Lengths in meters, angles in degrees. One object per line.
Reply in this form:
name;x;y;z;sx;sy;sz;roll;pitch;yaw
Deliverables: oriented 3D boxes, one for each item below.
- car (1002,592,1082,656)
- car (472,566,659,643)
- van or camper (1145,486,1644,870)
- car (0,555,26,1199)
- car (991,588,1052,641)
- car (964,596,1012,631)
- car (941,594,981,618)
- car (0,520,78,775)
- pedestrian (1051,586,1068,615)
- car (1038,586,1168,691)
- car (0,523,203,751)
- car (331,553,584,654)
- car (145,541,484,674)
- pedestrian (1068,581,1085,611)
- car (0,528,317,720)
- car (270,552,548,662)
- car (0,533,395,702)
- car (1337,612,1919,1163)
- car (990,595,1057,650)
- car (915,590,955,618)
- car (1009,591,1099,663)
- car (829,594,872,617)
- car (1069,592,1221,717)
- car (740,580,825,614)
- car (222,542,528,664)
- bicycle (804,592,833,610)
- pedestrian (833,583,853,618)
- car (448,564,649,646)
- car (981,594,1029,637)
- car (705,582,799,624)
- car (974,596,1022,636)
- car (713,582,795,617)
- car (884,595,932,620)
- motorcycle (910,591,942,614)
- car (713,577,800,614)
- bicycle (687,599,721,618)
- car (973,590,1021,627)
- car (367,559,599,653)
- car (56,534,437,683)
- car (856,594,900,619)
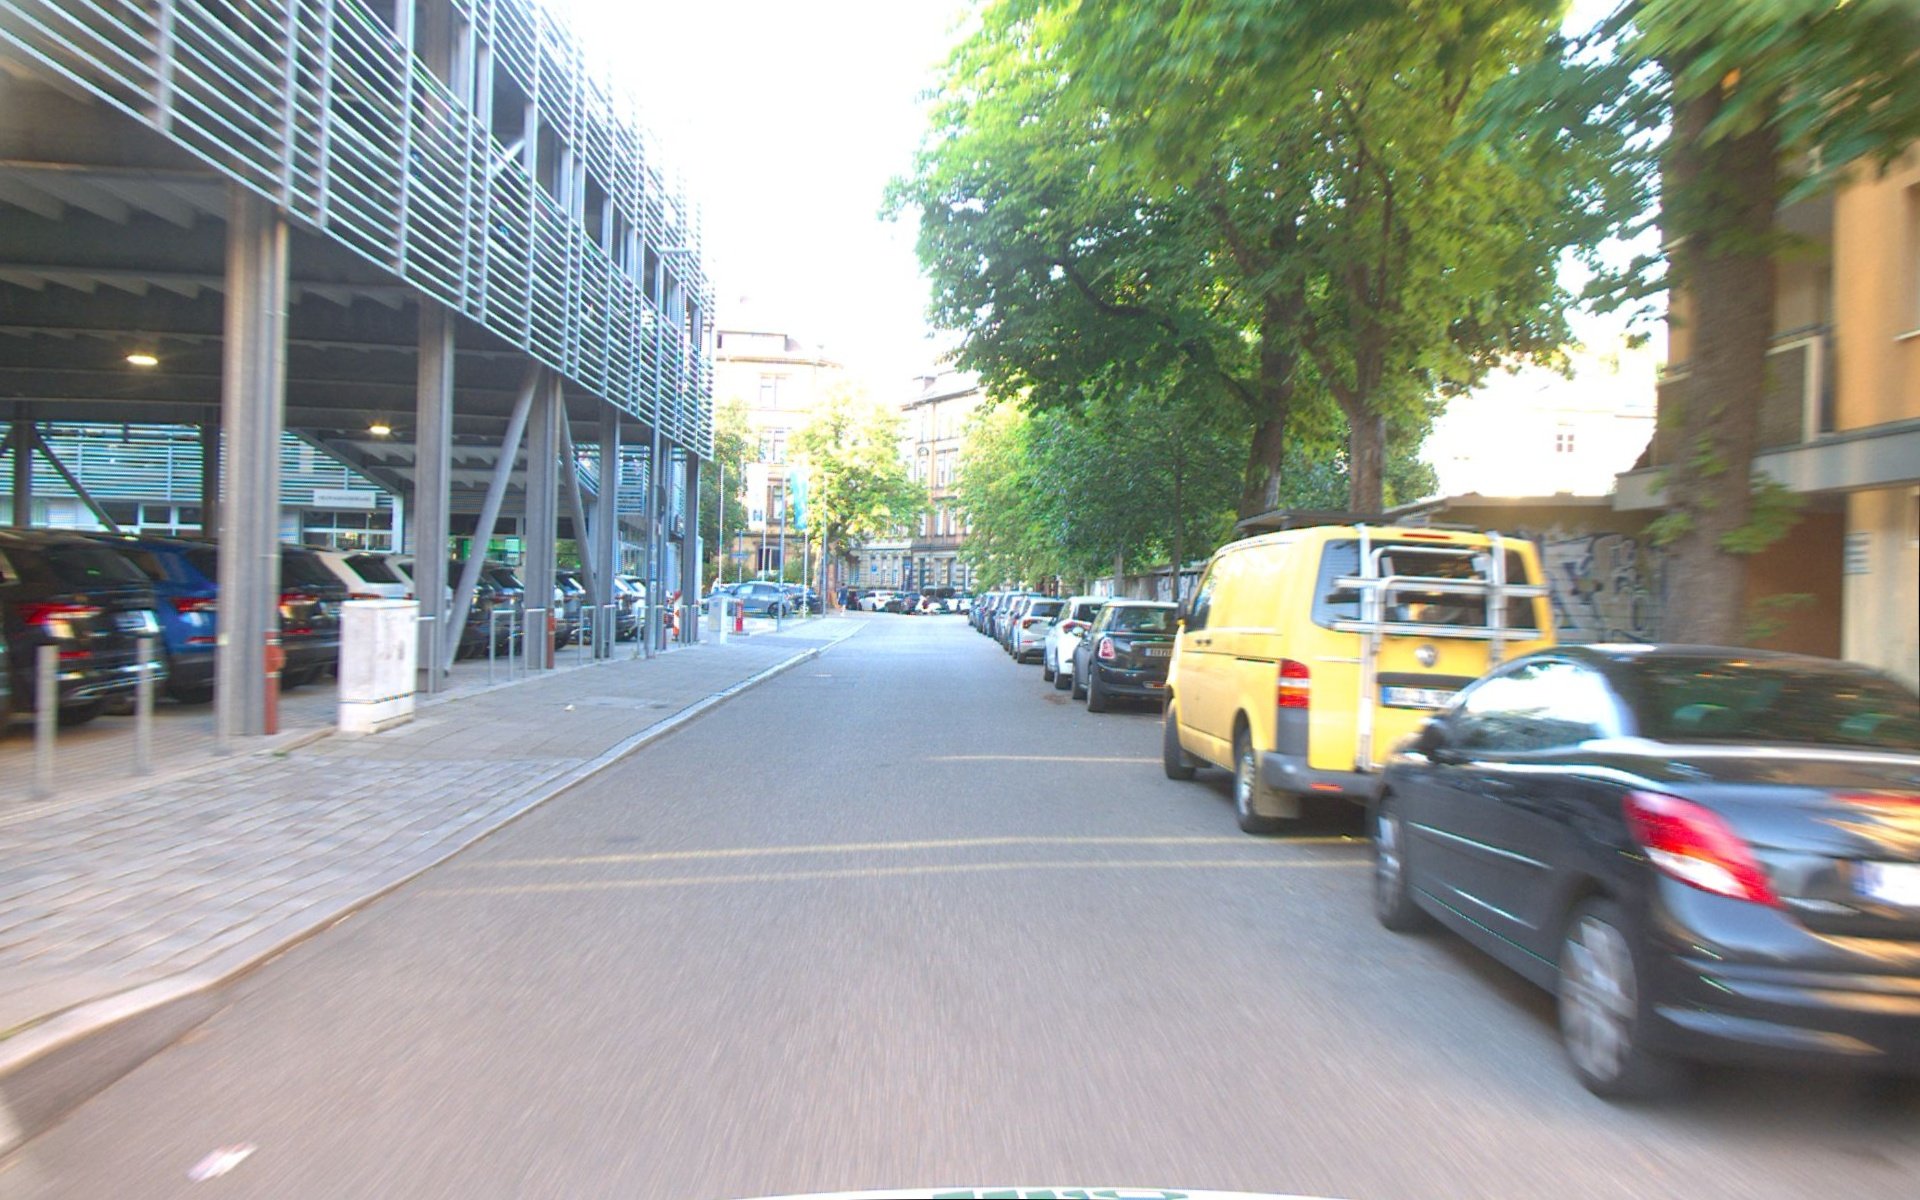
car;2.073;0.574;42.872;1.724;1.480;4.391;1;1;-1
car;-9.397;0.092;39.596;3.996;1.713;1.860;1;1;-1
van or camper;2.747;0.398;11.895;2.023;2.132;5.088;1;1;-3
car;-2.586;0.672;1.237;1.663;1.532;3.789;1;0;-1
car;1.975;0.467;53.938;1.724;1.632;3.872;1;0;-1
car;1.256;0.592;74.749;1.662;1.502;4.207;1;0;-6
car;0.066;0.393;111.398;1.654;1.552;2.745;2;1;-25
car;-8.472;0.277;11.092;4.081;1.713;1.860;1;1;-1
pedestrian;6.393;0.004;105.953;0.828;1.835;0.771;1;1;-22
car;2.303;0.577;27.531;1.687;1.546;4.024;1;1;-2
car;-8.574;0.231;13.446;3.953;1.713;1.860;1;1;-1
car;-9.140;0.044;30.318;4.019;1.713;1.860;1;1;-1
car;-8.962;0.083;23.216;4.000;1.713;1.860;1;1;-1
pedestrian;7.322;-0.274;103.812;0.761;1.835;0.839;1;1;-16
car;-8.585;0.182;16.016;3.953;1.713;1.860;1;1;-1
car;-9.190;0.096;27.822;4.019;1.713;1.860;1;1;-1
car;-8.667;0.166;18.451;4.064;1.713;1.860;1;1;-1
car;2.750;0.819;6.569;1.573;1.406;4.000;1;1;0
car;1.834;0.643;48.804;1.724;1.467;3.873;1;1;-1
car;-1.726;0.254;114.810;1.654;1.813;2.991;2;1;-25
car;2.108;0.580;37.917;1.724;1.467;4.005;1;1;-1
car;-7.622;0.367;115.002;1.634;1.456;3.865;2;1;-25
car;2.395;0.666;22.145;1.531;1.475;3.452;1;1;-2
car;-10.165;-0.166;94.690;4.738;1.762;1.917;2;1;-8
car;-8.912;0.029;25.449;4.019;1.713;1.860;1;1;-1
bicycle;-8.337;0.056;97.406;1.651;1.046;0.442;1;1;-26
pedestrian;-6.244;0.044;88.129;0.725;1.835;1.115;1;1;-21
car;-9.192;0.099;37.172;4.003;1.713;1.860;1;1;-1
car;1.643;0.558;61.343;1.564;1.502;3.772;1;0;-1
car;-9.507;0.140;75.723;4.048;1.646;1.912;3;1;-4
car;1.484;0.605;65.891;1.661;1.502;4.116;1;0;-1
car;-10.334;-0.038;83.206;3.967;1.501;1.919;3;1;-5
car;-3.376;0.476;106.262;1.633;1.456;3.959;2;1;-25
motorcycle;-2.095;0.160;102.966;1.897;1.364;0.576;1;1;-12
car;-9.684;-0.206;79.069;3.986;1.646;1.764;1;1;-4
bicycle;-14.639;0.493;94.626;1.832;1.046;0.442;1;1;-26
car;1.561;0.349;70.350;1.662;1.502;3.556;1;0;-5
car;-9.287;0.100;32.461;3.981;1.713;1.860;1;1;-1
car;-8.865;0.086;20.799;3.943;1.713;1.860;1;1;-1
car;-5.499;0.415;110.653;1.632;1.456;4.138;2;1;-23
